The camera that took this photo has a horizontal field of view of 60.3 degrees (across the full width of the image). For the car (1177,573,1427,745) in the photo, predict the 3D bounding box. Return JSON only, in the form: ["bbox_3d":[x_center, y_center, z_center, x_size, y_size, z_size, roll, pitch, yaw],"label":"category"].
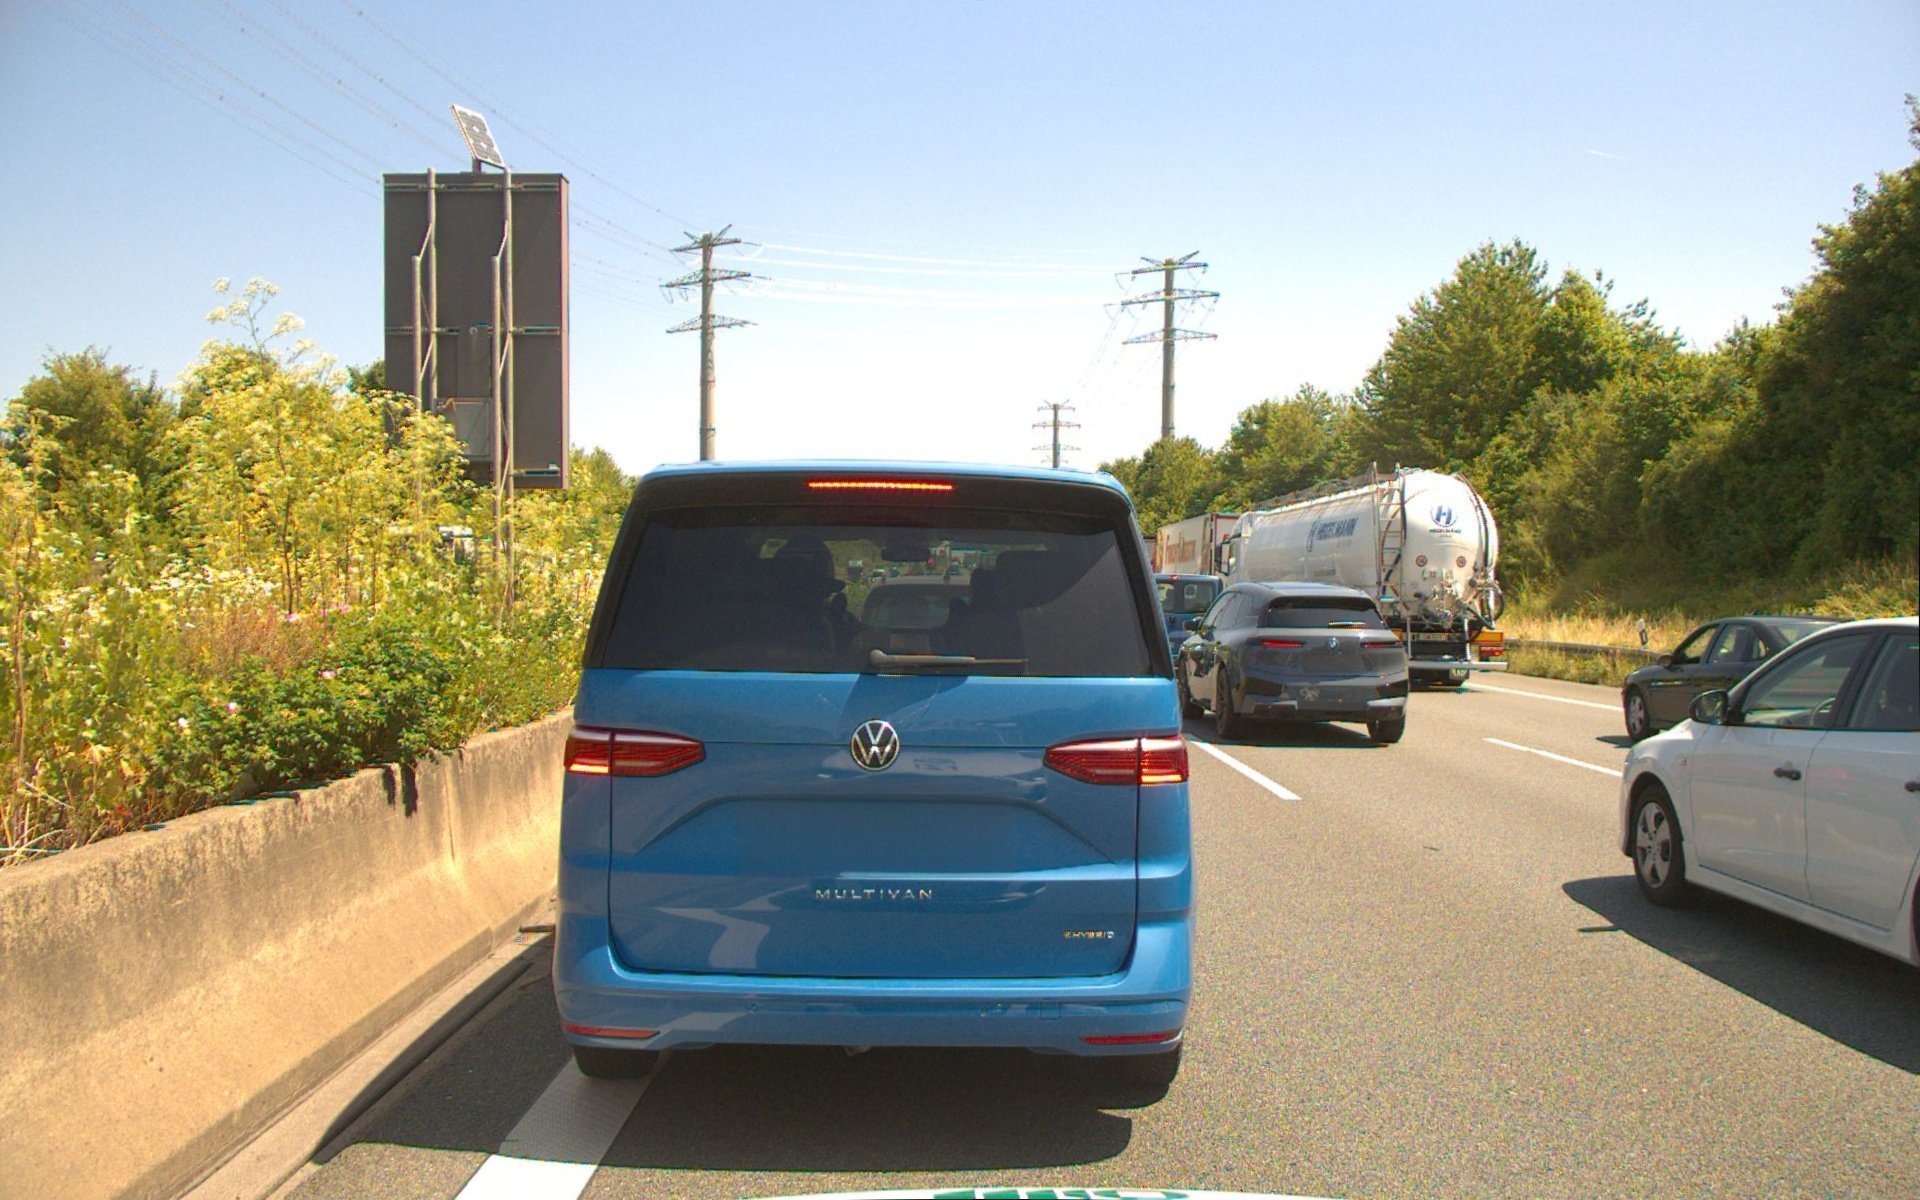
[{"bbox_3d":[3.802,0.630,19.223,1.958,1.745,4.625,0,-1,0],"label":"car"}]

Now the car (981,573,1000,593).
[{"bbox_3d":[3.401,-1.884,182.844,1.953,2.163,3.999,0,0,-1],"label":"car"}]

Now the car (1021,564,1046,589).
[{"bbox_3d":[6.322,-2.039,142.322,1.953,2.049,4.000,0,0,0],"label":"car"}]

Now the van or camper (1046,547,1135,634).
[{"bbox_3d":[4.794,-0.336,62.115,2.896,3.075,7.103,0,0,1],"label":"van or camper"}]

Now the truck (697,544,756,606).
[{"bbox_3d":[-14.503,-1.508,103.057,3.009,3.774,5.462,0,0,-1],"label":"truck"}]

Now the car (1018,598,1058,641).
[{"bbox_3d":[3.759,0.942,80.380,1.798,2.033,4.000,-1,-1,1],"label":"car"}]

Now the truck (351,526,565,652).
[{"bbox_3d":[-14.729,-0.305,49.782,2.708,3.346,11.820,0,0,1],"label":"truck"}]

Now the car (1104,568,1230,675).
[{"bbox_3d":[4.068,0.424,33.158,1.884,1.959,4.234,-1,-1,-1],"label":"car"}]

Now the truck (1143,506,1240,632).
[{"bbox_3d":[8.664,-1.137,62.360,2.853,4.547,5.141,0,0,-1],"label":"truck"}]

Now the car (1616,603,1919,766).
[{"bbox_3d":[8.281,0.776,16.857,1.607,1.441,3.988,-1,-1,0],"label":"car"}]

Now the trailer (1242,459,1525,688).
[{"bbox_3d":[8.225,-0.459,34.001,2.705,3.912,11.484,0,0,-1],"label":"trailer"}]

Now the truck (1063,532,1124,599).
[{"bbox_3d":[8.215,-2.010,103.175,2.836,3.832,13.344,0,0,0],"label":"truck"}]

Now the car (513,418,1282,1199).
[{"bbox_3d":[-0.163,0.516,6.141,1.881,1.919,4.000,1,0,0],"label":"car"}]

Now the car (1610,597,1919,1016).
[{"bbox_3d":[4.364,0.750,6.901,1.779,1.511,4.000,0,-1,1],"label":"car"}]

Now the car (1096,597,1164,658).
[{"bbox_3d":[4.298,0.686,42.175,1.332,1.445,3.884,-1,-1,0],"label":"car"}]

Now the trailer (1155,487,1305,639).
[{"bbox_3d":[8.779,-1.119,55.469,2.853,4.547,12.151,0,0,-1],"label":"trailer"}]

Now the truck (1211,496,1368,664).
[{"bbox_3d":[8.091,-0.467,41.314,2.736,3.903,5.571,0,0,-1],"label":"truck"}]

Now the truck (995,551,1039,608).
[{"bbox_3d":[3.924,-1.372,116.138,2.836,3.832,10.140,0,0,0],"label":"truck"}]

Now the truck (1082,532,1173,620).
[{"bbox_3d":[7.919,-1.013,80.334,2.944,3.832,15.712,0,0,0],"label":"truck"}]

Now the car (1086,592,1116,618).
[{"bbox_3d":[10.958,0.394,128.502,1.953,2.049,3.999,0,0,-1],"label":"car"}]
